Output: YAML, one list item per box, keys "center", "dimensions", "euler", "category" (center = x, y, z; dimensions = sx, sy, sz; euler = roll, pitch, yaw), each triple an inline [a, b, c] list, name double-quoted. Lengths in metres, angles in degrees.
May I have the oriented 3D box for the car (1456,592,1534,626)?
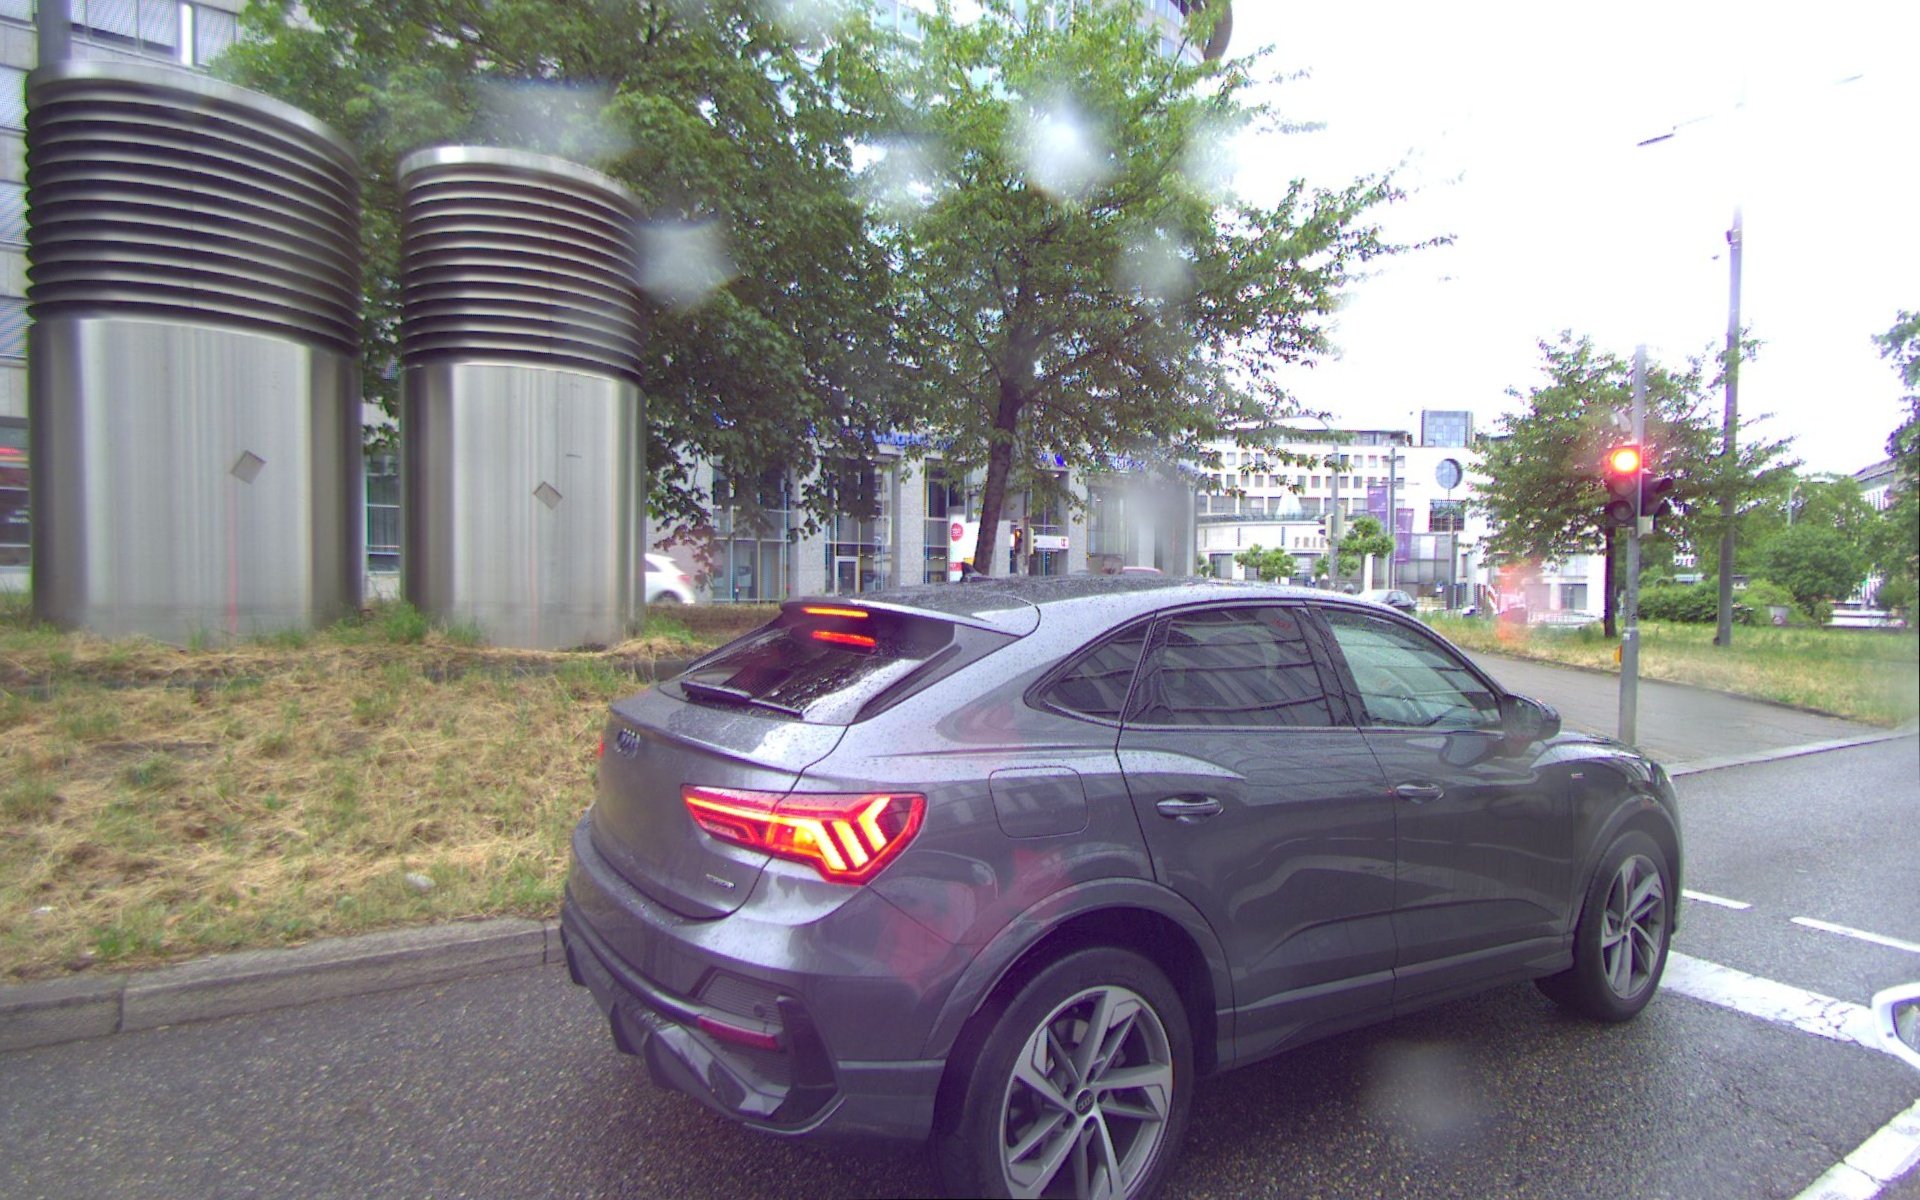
- center: [26.176, 0.437, 49.099]
  dimensions: [4.347, 1.506, 1.789]
  euler: [1, 2, -40]
  category: "car"

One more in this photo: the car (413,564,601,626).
- center: [-11.142, -0.108, 24.785]
  dimensions: [3.977, 1.420, 1.763]
  euler: [0, 1, -36]
  category: "car"

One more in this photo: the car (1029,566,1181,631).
- center: [4.252, -0.027, 29.089]
  dimensions: [4.543, 1.750, 1.710]
  euler: [1, 1, -39]
  category: "car"

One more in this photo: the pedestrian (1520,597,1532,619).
- center: [53.210, 0.756, 94.438]
  dimensions: [0.780, 2.041, 0.736]
  euler: [4, 3, 44]
  category: "pedestrian"

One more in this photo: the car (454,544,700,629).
- center: [-7.424, -0.229, 19.649]
  dimensions: [4.157, 1.495, 1.805]
  euler: [1, 1, -39]
  category: "car"

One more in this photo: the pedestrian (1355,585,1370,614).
- center: [24.715, -0.026, 61.651]
  dimensions: [0.721, 1.786, 0.613]
  euler: [1, -2, -45]
  category: "pedestrian"

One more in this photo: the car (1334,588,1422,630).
- center: [16.843, 0.350, 40.411]
  dimensions: [3.972, 1.506, 1.787]
  euler: [1, 3, -44]
  category: "car"

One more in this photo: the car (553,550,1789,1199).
- center: [0.976, 0.723, 3.544]
  dimensions: [4.207, 1.638, 1.836]
  euler: [0, 2, -34]
  category: "car"

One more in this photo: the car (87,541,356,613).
- center: [-15.526, -0.447, 21.358]
  dimensions: [4.435, 1.343, 1.878]
  euler: [1, 1, -37]
  category: "car"
